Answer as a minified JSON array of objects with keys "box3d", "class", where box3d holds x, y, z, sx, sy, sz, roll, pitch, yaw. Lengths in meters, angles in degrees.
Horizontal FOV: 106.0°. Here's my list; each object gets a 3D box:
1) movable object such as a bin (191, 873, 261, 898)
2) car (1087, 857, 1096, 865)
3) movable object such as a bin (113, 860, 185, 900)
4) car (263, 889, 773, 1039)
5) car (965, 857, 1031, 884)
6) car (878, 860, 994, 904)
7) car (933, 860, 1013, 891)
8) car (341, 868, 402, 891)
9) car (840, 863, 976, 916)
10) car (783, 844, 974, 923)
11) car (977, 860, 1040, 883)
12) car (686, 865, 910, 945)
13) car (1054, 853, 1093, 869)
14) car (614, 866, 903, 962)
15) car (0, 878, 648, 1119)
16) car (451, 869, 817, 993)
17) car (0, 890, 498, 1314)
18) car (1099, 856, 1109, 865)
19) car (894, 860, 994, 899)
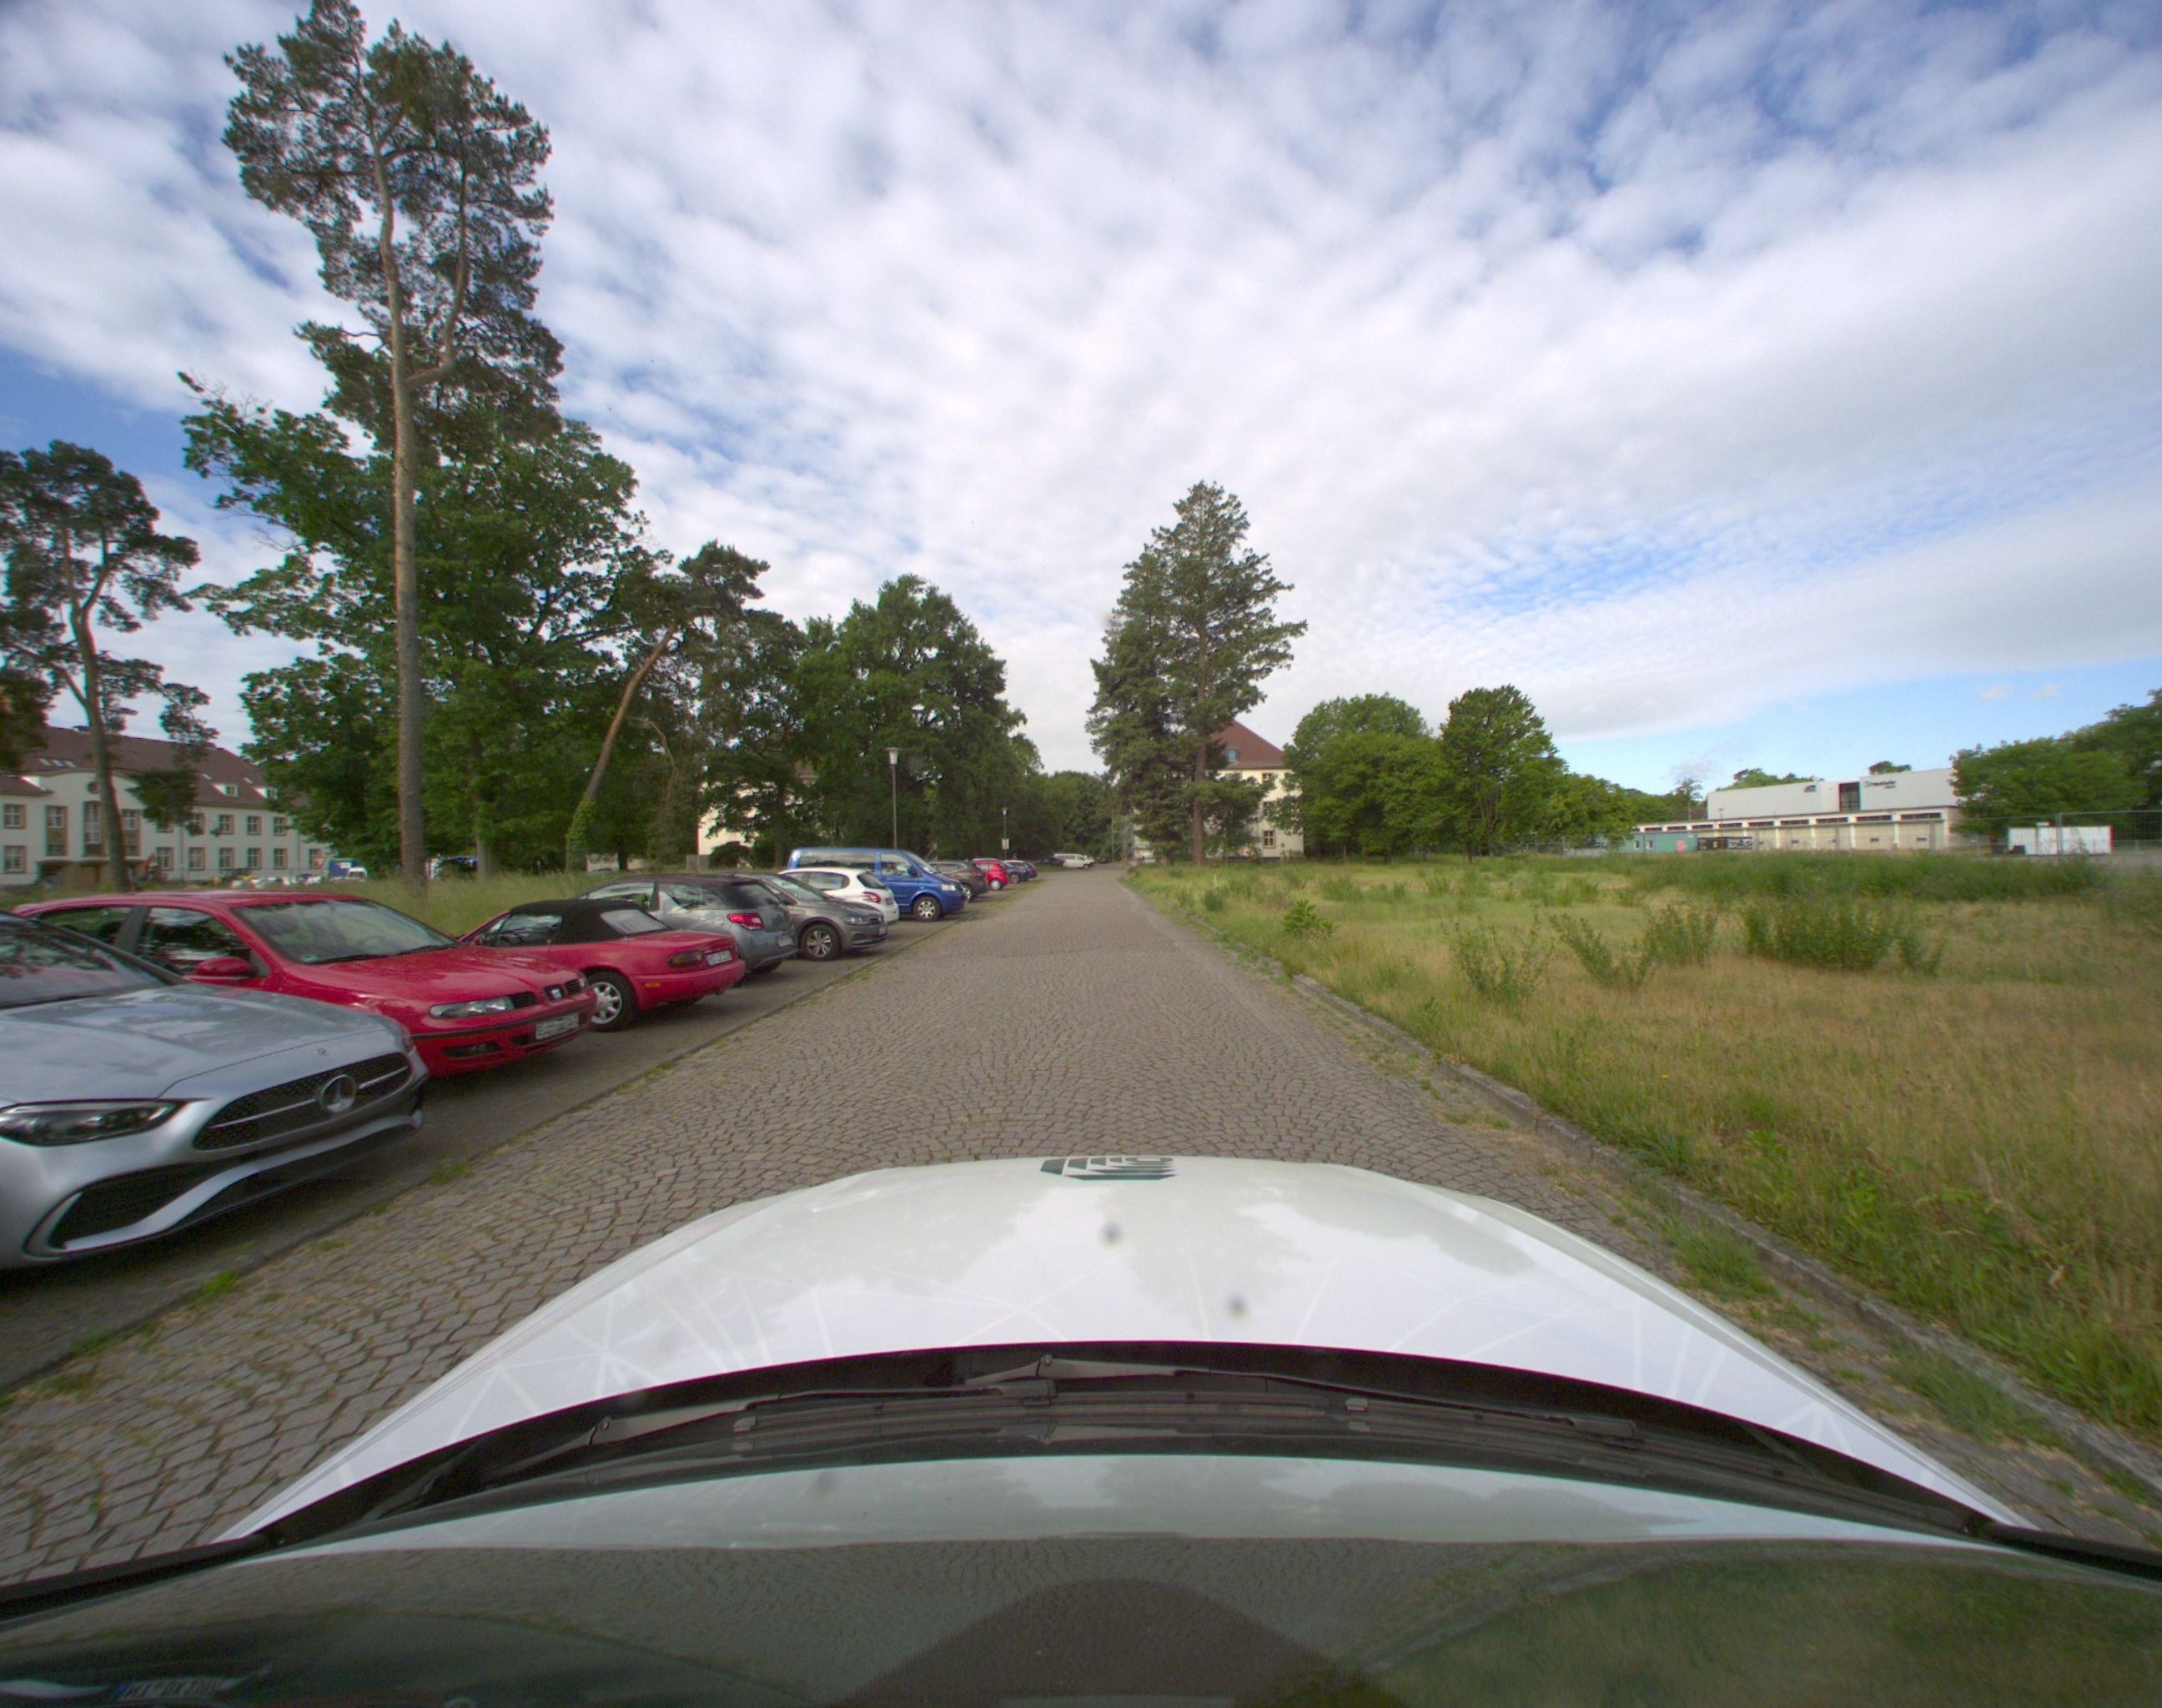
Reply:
[{"box3d":[-83.643,3.044,79.725,4.486,2.254,2.383,-2,-2,5],"class":"movable object such as a bin"},{"box3d":[2.218,1.456,171.512,1.785,1.636,4.058,-2,-2,-1],"class":"car"},{"box3d":[-89.506,2.468,78.224,6.068,3.642,2.151,-2,-2,17],"class":"movable object such as a bin"},{"box3d":[-5.673,1.081,8.610,4.117,1.283,1.763,-1,0,0],"class":"car"},{"box3d":[-5.236,1.017,51.775,4.060,1.604,1.786,-1,0,-2],"class":"car"},{"box3d":[-5.478,1.042,31.210,4.056,1.575,1.953,-1,0,-1],"class":"car"},{"box3d":[-5.478,1.071,41.524,3.804,1.489,1.787,-1,0,-1],"class":"car"},{"box3d":[-68.246,2.461,78.439,2.055,2.095,4.344,-2,-2,0],"class":"car"},{"box3d":[-5.221,1.056,24.925,3.784,1.493,1.724,-1,0,-3],"class":"car"},{"box3d":[-5.425,0.777,22.342,4.695,1.980,2.037,-1,0,-1],"class":"car"},{"box3d":[-4.996,1.202,56.472,4.053,1.467,1.627,-1,0,3],"class":"car"},{"box3d":[-5.792,1.022,17.039,3.990,1.501,1.843,-1,0,1],"class":"car"},{"box3d":[-0.942,0.909,105.464,4.964,2.073,2.051,0,-2,-1],"class":"car"},{"box3d":[-5.471,0.998,14.175,4.288,1.480,1.732,-1,0,1],"class":"car"},{"box3d":[-5.948,0.975,6.226,4.240,1.455,1.855,-1,0,0],"class":"car"},{"box3d":[-6.003,1.001,11.290,4.073,1.480,1.756,-1,0,1],"class":"car"},{"box3d":[-5.730,0.966,3.919,4.421,1.455,1.949,-1,-1,1],"class":"car"},{"box3d":[4.835,1.351,171.847,1.785,1.720,4.058,-2,-2,-1],"class":"car"},{"box3d":[-5.664,1.044,33.996,3.803,1.486,1.761,-1,0,0],"class":"car"}]
